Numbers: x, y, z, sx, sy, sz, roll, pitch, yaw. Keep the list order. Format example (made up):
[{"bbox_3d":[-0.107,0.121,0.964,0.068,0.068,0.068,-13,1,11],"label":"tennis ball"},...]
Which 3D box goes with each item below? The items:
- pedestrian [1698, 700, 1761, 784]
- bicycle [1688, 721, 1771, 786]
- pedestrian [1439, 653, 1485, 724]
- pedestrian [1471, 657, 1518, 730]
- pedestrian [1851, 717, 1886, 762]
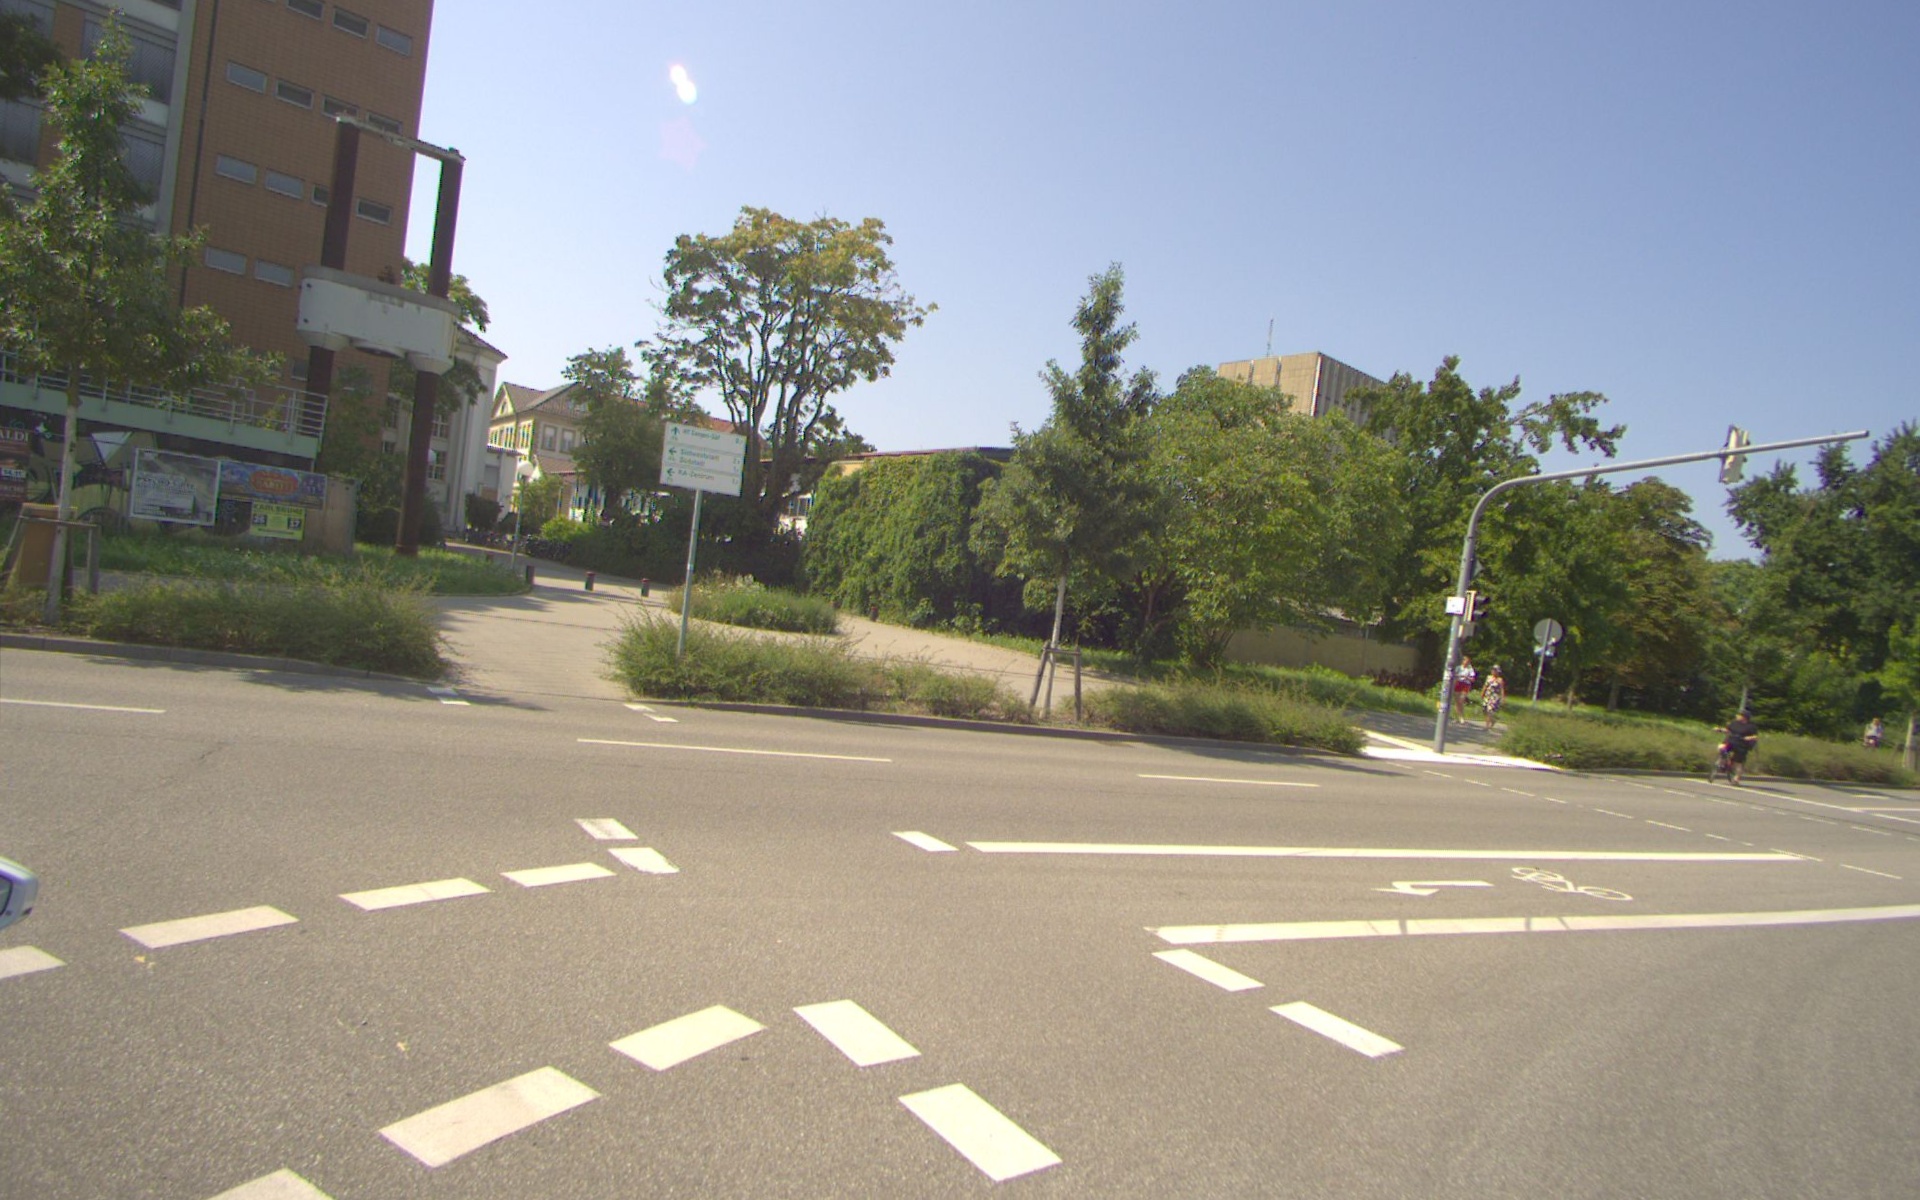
[{"bbox_3d":[16.929,3.118,22.136,0.543,1.690,0.774,7,2,-32],"label":"pedestrian"},{"bbox_3d":[16.991,3.399,22.205,1.771,1.228,0.779,7,1,-32],"label":"bicycle"},{"bbox_3d":[13.490,2.370,27.032,0.581,1.794,0.688,7,2,-32],"label":"pedestrian"},{"bbox_3d":[14.041,2.450,26.435,0.581,1.794,0.688,7,2,-32],"label":"pedestrian"},{"bbox_3d":[39.808,6.108,44.081,0.818,1.790,0.787,7,2,-32],"label":"pedestrian"}]
